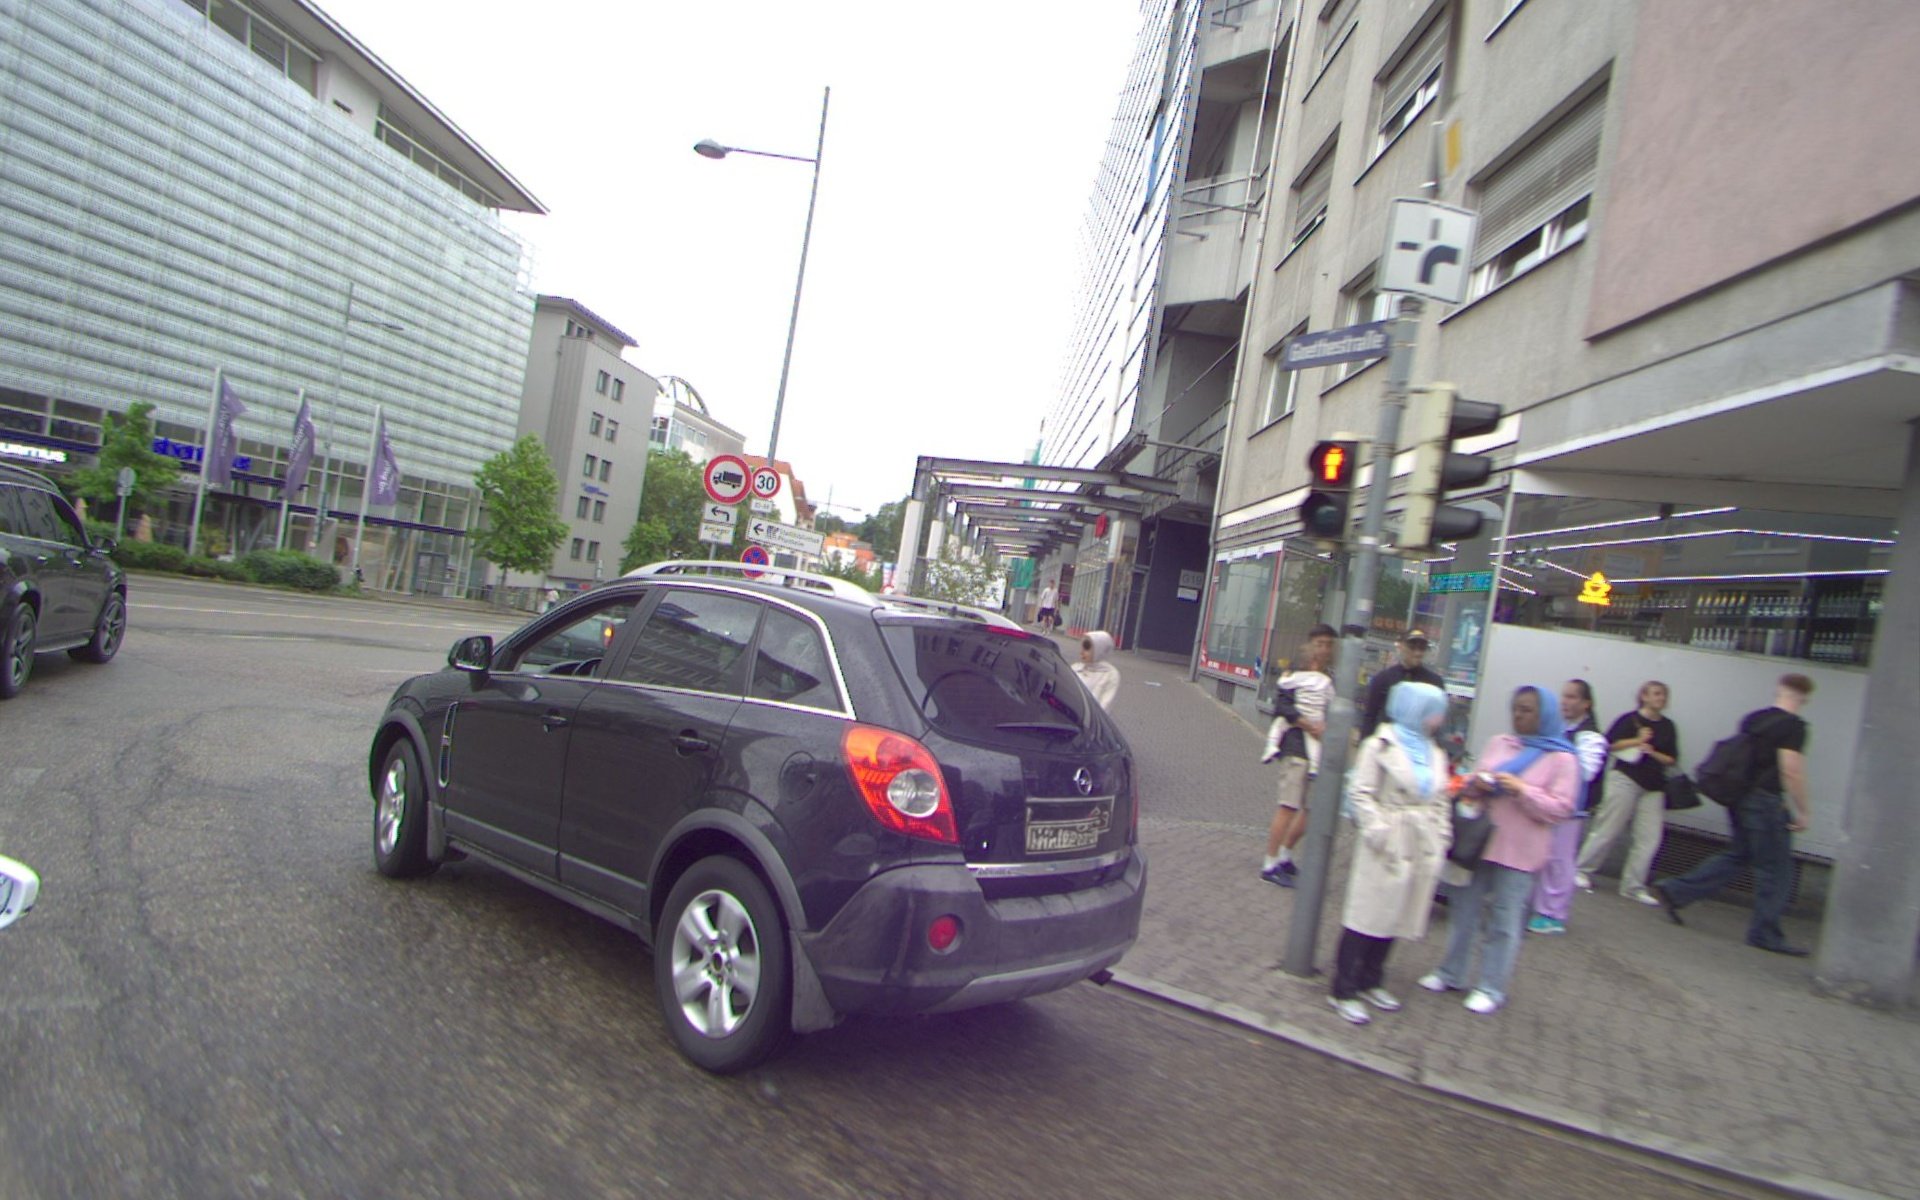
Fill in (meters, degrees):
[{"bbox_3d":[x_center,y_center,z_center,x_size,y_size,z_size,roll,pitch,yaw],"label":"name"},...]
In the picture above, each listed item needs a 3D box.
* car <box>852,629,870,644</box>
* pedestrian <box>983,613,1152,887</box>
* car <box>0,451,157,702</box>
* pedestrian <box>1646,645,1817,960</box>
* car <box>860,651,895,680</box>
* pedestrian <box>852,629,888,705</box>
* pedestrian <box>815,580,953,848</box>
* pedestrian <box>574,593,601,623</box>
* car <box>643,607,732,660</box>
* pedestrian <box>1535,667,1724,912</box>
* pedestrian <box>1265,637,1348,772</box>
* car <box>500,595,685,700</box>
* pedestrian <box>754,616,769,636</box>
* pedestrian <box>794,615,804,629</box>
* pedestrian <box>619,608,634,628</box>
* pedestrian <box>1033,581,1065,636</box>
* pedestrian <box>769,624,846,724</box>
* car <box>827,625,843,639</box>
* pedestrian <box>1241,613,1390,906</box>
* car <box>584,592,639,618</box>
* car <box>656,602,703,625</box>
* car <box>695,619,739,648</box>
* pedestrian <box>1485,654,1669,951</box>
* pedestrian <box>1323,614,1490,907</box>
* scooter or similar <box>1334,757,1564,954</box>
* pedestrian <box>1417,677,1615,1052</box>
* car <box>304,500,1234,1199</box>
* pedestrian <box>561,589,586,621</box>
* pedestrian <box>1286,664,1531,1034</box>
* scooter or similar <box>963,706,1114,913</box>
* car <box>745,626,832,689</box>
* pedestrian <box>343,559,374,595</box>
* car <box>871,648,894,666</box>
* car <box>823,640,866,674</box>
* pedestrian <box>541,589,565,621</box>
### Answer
[{"bbox_3d":[-12.895,4.789,131.518,1.794,1.565,4.003,10,-3,-1],"label":"car"},{"bbox_3d":[0.814,1.027,7.350,0.822,1.744,1.039,8,1,18],"label":"pedestrian"},{"bbox_3d":[-8.840,-0.359,8.638,2.074,1.836,4.758,11,-4,-30],"label":"car"},{"bbox_3d":[5.185,1.316,6.749,0.657,1.886,0.835,7,-2,43],"label":"pedestrian"},{"bbox_3d":[-5.512,4.358,67.693,1.735,1.559,4.002,10,-2,1],"label":"car"},{"bbox_3d":[-2.333,1.723,26.209,0.590,1.861,1.013,8,-1,1],"label":"pedestrian"},{"bbox_3d":[-0.568,0.828,7.665,0.772,1.892,0.617,4,2,17],"label":"pedestrian"},{"bbox_3d":[-24.387,0.546,65.889,0.958,1.741,1.092,8,-2,10],"label":"pedestrian"},{"bbox_3d":[-10.455,1.343,38.888,1.920,1.590,4.006,10,-3,3],"label":"car"},{"bbox_3d":[5.042,1.400,7.631,0.822,1.659,0.617,5,4,5],"label":"pedestrian"},{"bbox_3d":[2.403,0.720,6.973,0.433,0.856,0.221,8,-2,22],"label":"pedestrian"},{"bbox_3d":[-6.575,0.960,18.471,1.691,1.433,3.779,10,-5,2],"label":"car"},{"bbox_3d":[-20.720,2.702,105.106,1.046,1.903,0.839,8,-2,10],"label":"pedestrian"},{"bbox_3d":[-21.781,2.986,135.814,0.899,1.822,0.621,10,-2,-38],"label":"pedestrian"},{"bbox_3d":[-32.232,1.732,97.344,0.745,1.742,0.953,8,-2,16],"label":"pedestrian"},{"bbox_3d":[2.961,0.296,33.453,0.812,1.707,0.599,8,-2,3],"label":"pedestrian"},{"bbox_3d":[-2.585,1.247,17.174,1.039,1.549,1.028,6,-1,-2],"label":"pedestrian"},{"bbox_3d":[-16.202,4.191,130.733,1.682,1.466,3.862,10,-3,-4],"label":"car"},{"bbox_3d":[2.488,1.075,7.148,0.646,1.890,0.838,5,2,5],"label":"pedestrian"},{"bbox_3d":[-37.473,0.526,108.303,5.008,1.777,1.998,12,-3,-9],"label":"car"},{"bbox_3d":[-30.372,1.460,109.025,4.534,1.497,1.940,12,-3,-9],"label":"car"},{"bbox_3d":[-16.532,2.253,68.281,1.826,1.569,4.068,9,-3,-27],"label":"car"},{"bbox_3d":[4.022,1.270,6.629,0.606,1.744,0.838,6,1,9],"label":"pedestrian"},{"bbox_3d":[3.253,1.125,7.420,0.718,1.955,0.821,7,1,9],"label":"pedestrian"},{"bbox_3d":[3.130,1.622,6.535,1.028,0.999,0.772,5,1,0],"label":"scooter or similar"},{"bbox_3d":[2.800,1.247,5.059,0.588,1.656,0.741,6,2,42],"label":"pedestrian"},{"bbox_3d":[-1.173,0.689,4.863,4.237,1.805,1.909,7,-3,38],"label":"car"},{"bbox_3d":[-23.280,0.316,60.638,0.804,1.732,1.313,9,-2,-3],"label":"pedestrian"},{"bbox_3d":[2.197,1.200,5.016,0.822,1.660,0.540,4,3,1],"label":"pedestrian"},{"bbox_3d":[0.554,1.354,6.766,0.643,1.123,0.972,8,1,20],"label":"scooter or similar"},{"bbox_3d":[-5.525,1.875,32.957,1.921,1.590,4.004,10,-3,1],"label":"car"},{"bbox_3d":[-27.596,-1.050,46.146,0.641,1.472,0.846,8,-2,10],"label":"pedestrian"},{"bbox_3d":[-7.750,5.650,100.667,1.768,1.484,4.003,10,-2,0],"label":"car"},{"bbox_3d":[-6.456,3.172,56.500,1.786,1.456,4.002,12,-2,-1],"label":"car"},{"bbox_3d":[-24.592,0.315,60.827,0.981,1.741,1.036,9,-2,-14],"label":"pedestrian"}]
